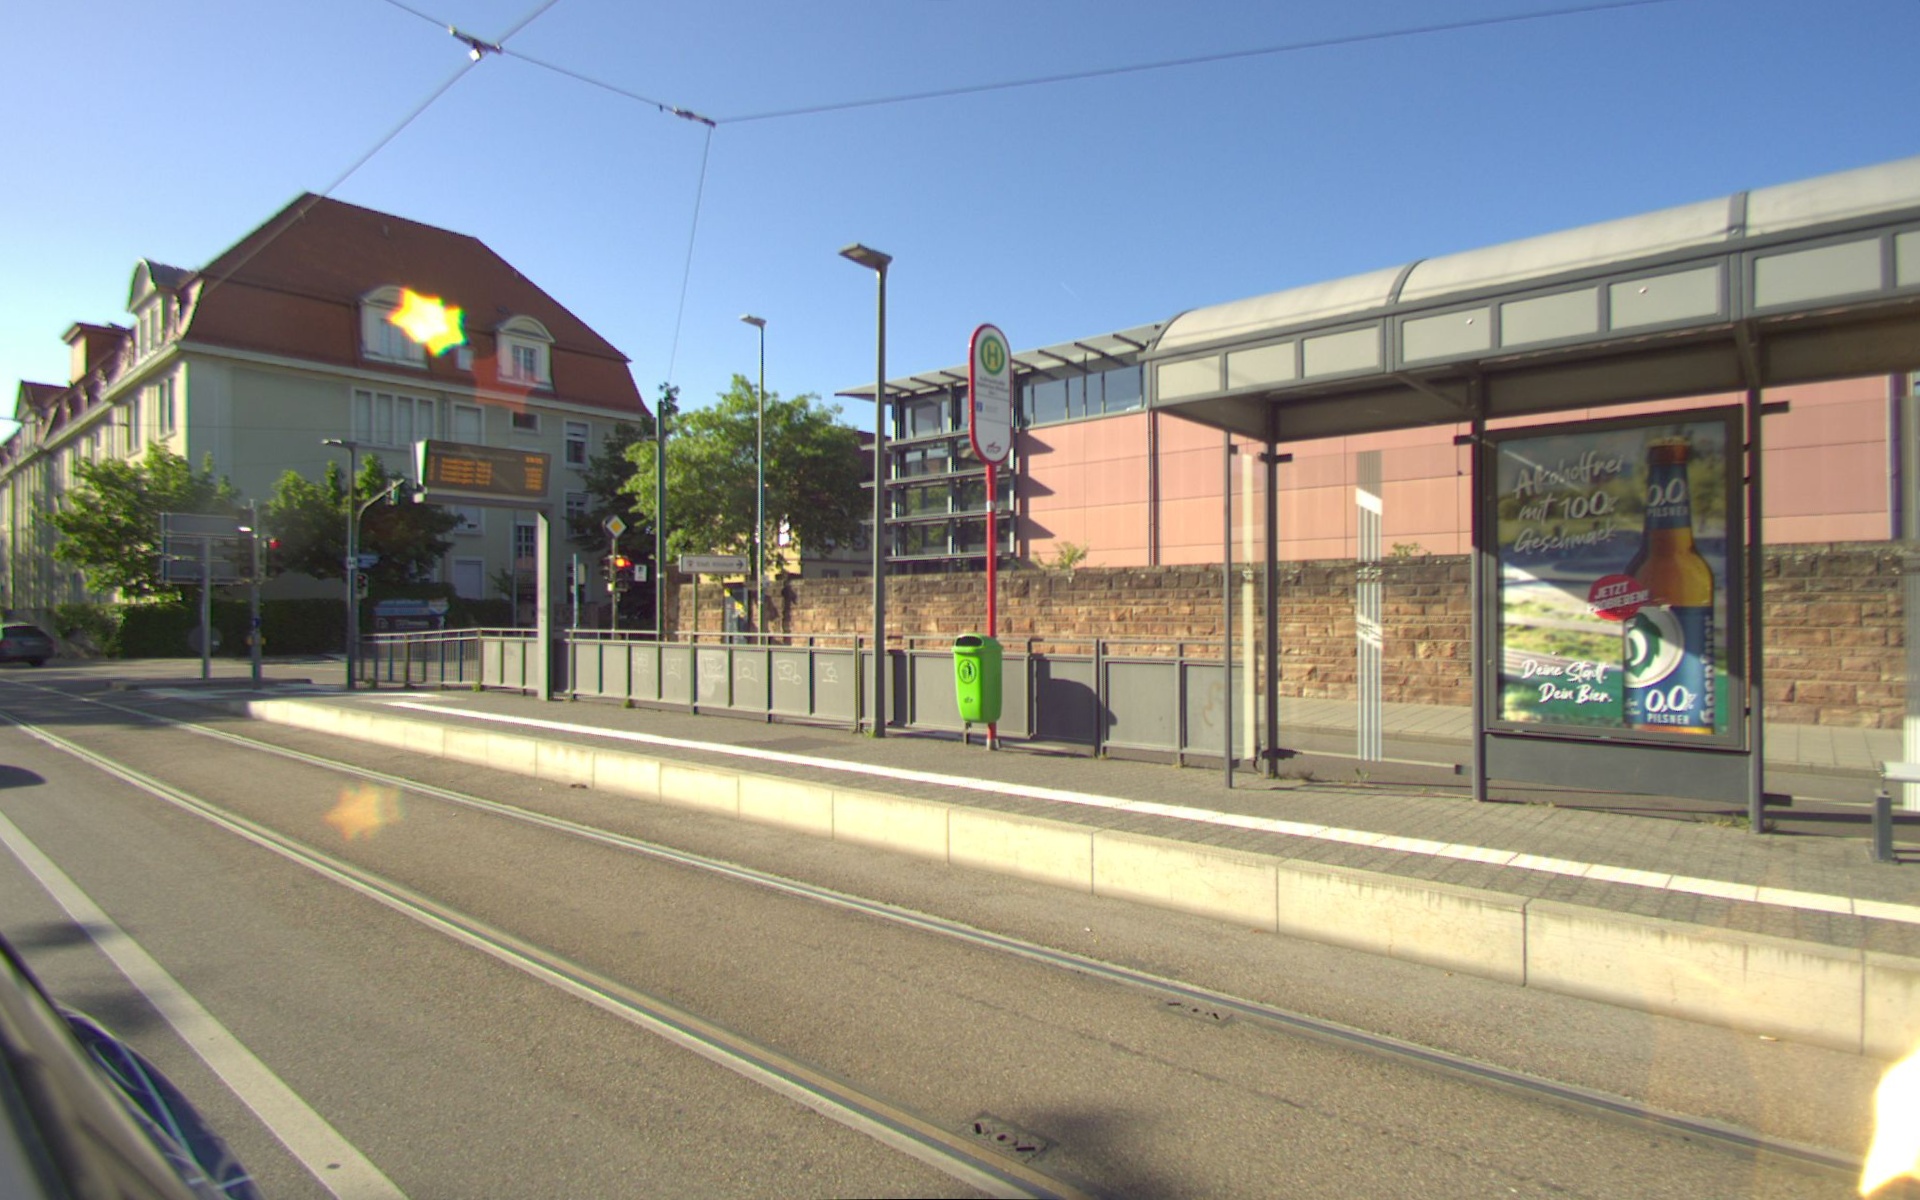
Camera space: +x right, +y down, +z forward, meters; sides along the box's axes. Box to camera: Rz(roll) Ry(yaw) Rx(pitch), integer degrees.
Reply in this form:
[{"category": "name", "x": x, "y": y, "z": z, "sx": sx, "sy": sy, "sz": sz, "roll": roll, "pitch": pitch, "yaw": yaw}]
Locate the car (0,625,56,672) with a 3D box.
[{"category": "car", "x": -32.658, "y": 1.613, "z": 33.789, "sx": 4.368, "sy": 1.470, "sz": 1.733, "roll": -1, "pitch": -1, "yaw": 18}]
